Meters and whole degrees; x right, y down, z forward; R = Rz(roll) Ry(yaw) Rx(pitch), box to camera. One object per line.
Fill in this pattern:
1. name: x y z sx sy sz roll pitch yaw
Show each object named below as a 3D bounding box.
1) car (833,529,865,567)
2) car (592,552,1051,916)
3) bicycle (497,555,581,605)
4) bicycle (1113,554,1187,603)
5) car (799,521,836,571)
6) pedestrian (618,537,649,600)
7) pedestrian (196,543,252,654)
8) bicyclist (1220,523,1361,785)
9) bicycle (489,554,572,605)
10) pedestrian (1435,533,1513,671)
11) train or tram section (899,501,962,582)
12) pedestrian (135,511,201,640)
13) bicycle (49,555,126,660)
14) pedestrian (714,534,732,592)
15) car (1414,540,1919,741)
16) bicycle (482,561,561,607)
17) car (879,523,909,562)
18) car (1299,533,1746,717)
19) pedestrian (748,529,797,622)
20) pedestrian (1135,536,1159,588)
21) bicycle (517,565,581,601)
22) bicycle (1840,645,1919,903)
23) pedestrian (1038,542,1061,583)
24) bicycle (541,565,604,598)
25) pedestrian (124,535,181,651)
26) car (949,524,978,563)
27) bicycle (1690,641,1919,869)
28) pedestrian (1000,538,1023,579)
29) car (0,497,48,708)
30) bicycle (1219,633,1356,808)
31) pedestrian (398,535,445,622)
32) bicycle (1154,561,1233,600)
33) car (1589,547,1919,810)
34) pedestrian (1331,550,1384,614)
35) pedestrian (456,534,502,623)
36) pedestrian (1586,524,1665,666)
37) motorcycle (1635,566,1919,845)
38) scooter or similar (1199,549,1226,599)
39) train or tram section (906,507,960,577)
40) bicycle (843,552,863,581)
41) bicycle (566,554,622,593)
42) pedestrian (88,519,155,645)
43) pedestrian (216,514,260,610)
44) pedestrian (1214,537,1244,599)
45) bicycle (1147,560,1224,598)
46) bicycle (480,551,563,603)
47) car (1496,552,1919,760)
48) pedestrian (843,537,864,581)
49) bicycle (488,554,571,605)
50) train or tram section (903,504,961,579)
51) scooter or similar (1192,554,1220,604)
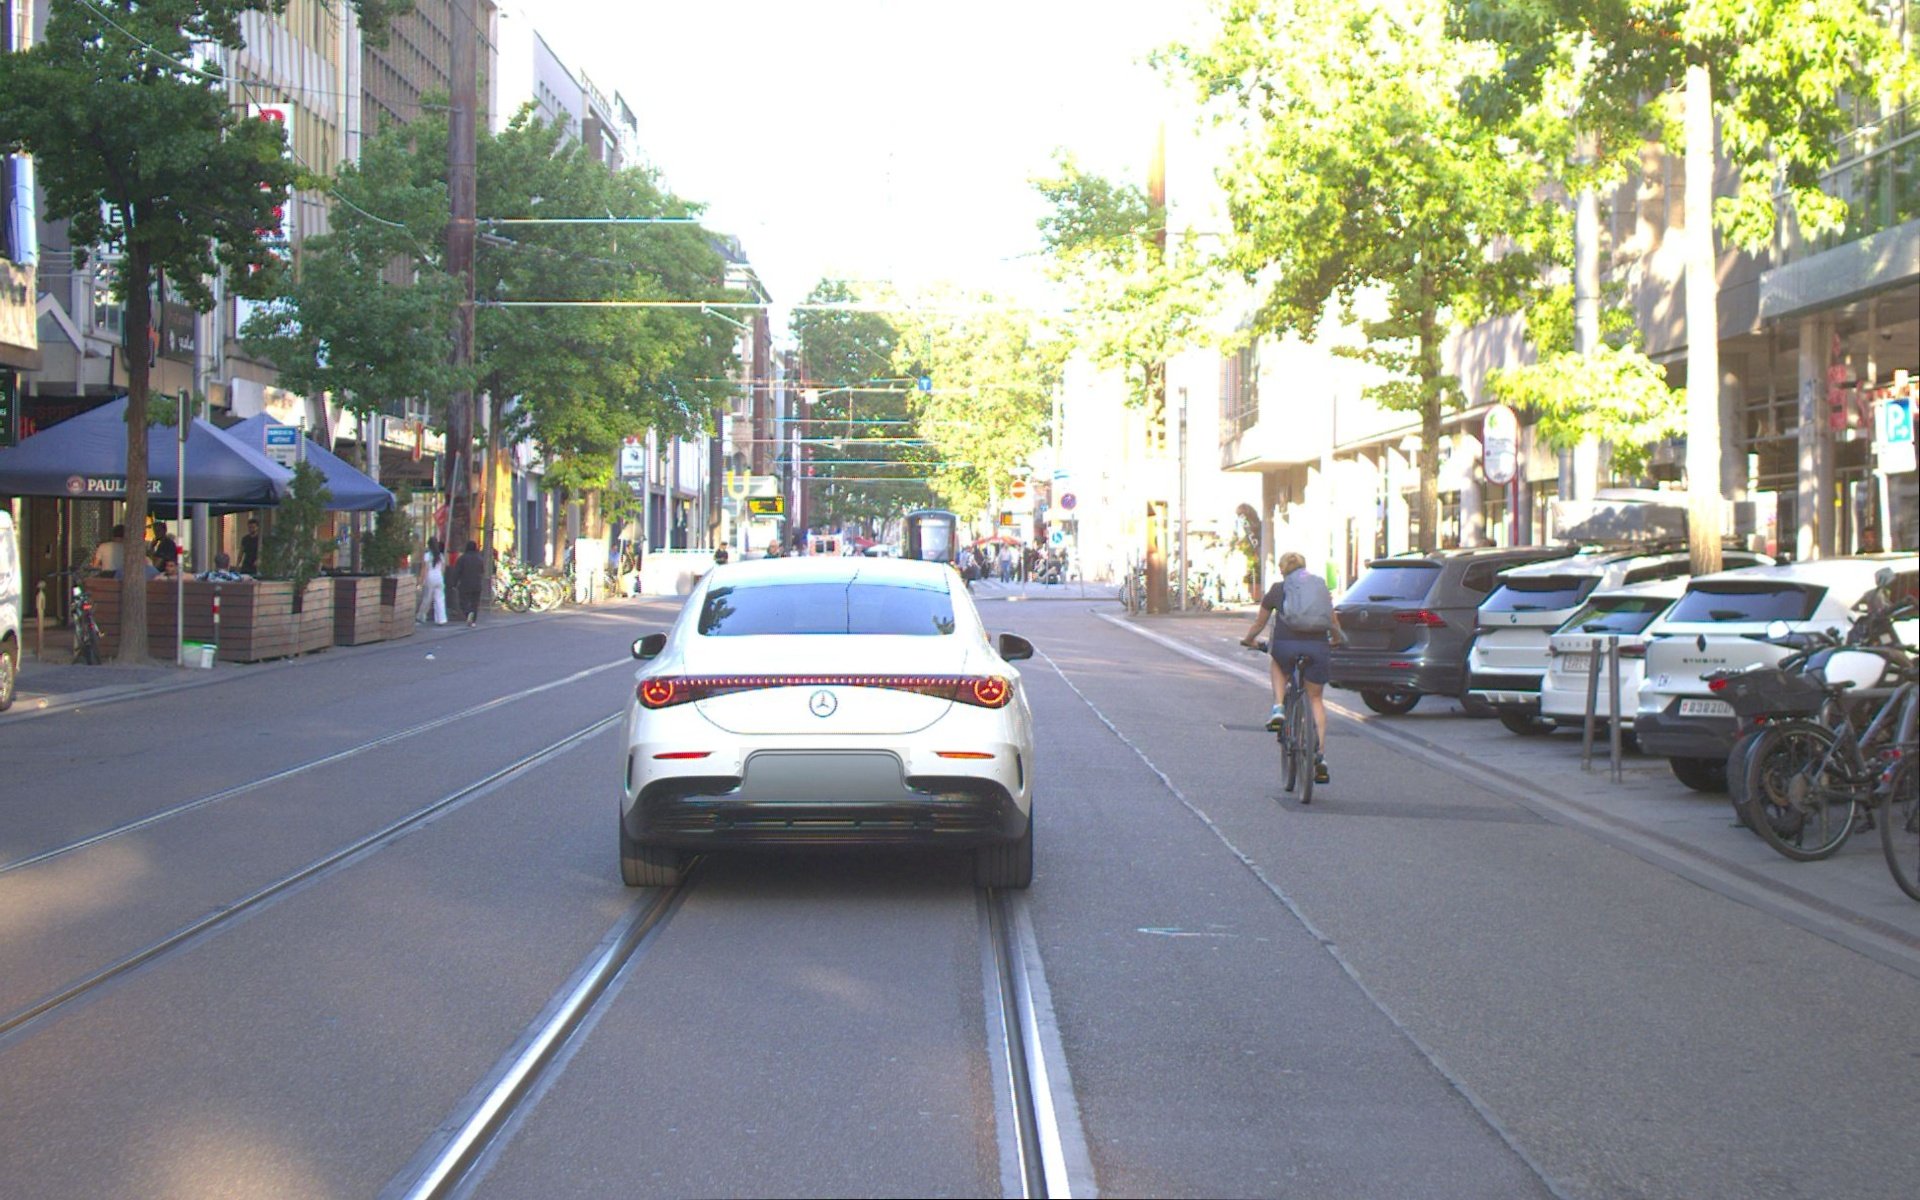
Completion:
1. car: -7.224 -3.394 223.570 1.910 2.452 5.275 0 1 0
2. car: -0.584 0.523 16.255 1.857 1.450 4.175 1 1 0
3. bicycle: -9.533 -0.461 77.869 1.846 1.073 0.377 2 1 -4
4. bicycle: 5.177 -0.585 93.733 1.907 1.277 0.610 -1 1 -11
5. car: -8.487 -3.220 204.841 1.993 2.887 5.275 0 1 0
6. pedestrian: -9.375 -0.919 98.808 0.788 1.795 0.844 1 1 1
7. pedestrian: -9.114 -0.018 42.584 0.549 1.352 0.583 2 1 -1
8. bicyclist: 2.123 0.332 22.008 0.778 1.607 0.912 3 1 9
9. bicycle: -9.572 -0.452 76.635 1.788 1.073 0.377 2 1 -4
10. pedestrian: 6.385 0.024 42.715 0.680 1.679 0.695 -1 1 34
11. train or tram section: -1.300 -2.617 154.297 2.694 3.504 12.546 0 1 0
12. pedestrian: -10.734 -0.333 46.615 0.717 1.719 0.675 2 1 -1
13. bicycle: -10.285 0.073 40.484 0.697 1.117 2.087 3 1 -18
14. pedestrian: -7.908 -1.243 114.797 0.571 1.922 0.541 0 1 -4
15. car: 6.355 0.321 30.807 4.235 1.582 1.884 -2 1 -31
16. bicycle: -9.348 -0.335 73.309 1.596 0.927 0.377 2 1 7
17. car: -4.923 -4.263 255.600 2.099 2.887 5.275 0 1 0
18. car: 5.699 0.219 34.681 4.342 1.646 1.694 -2 1 -31
19. pedestrian: -3.704 -0.491 67.976 0.841 1.795 0.790 2 1 1
20. pedestrian: 6.424 -1.311 117.959 0.748 1.779 0.767 -1 1 0
21. bicycle: -10.053 -0.413 84.114 1.493 0.838 0.344 2 1 1
22. bicycle: 4.884 0.797 16.661 0.481 1.159 1.691 -2 1 40
23. pedestrian: 3.933 -1.671 151.201 0.960 1.779 0.804 -1 1 0
24. bicycle: -9.631 -0.462 85.414 1.493 0.780 0.344 2 1 1
25. pedestrian: -10.010 -0.091 42.637 0.549 1.424 0.583 2 1 -1
26. car: 0.274 -4.193 255.896 2.099 2.887 5.285 0 1 0
27. bicycle: 4.923 0.811 18.606 1.890 1.116 0.667 -2 0 -29
28. pedestrian: 2.234 -1.827 150.149 0.960 1.779 0.804 -1 1 0
29. car: -9.364 -0.006 29.379 1.795 1.858 4.553 3 1 1
30. bicycle: 2.129 0.752 22.168 0.719 0.992 2.058 3 1 9
31. pedestrian: -9.563 -0.393 61.063 0.622 1.504 0.833 3 1 0
32. bicycle: 6.522 -0.552 96.045 2.113 1.092 0.610 0 0 -13
33. car: 6.463 0.446 23.326 4.146 1.566 1.854 -3 1 -33
34. pedestrian: 8.569 -0.391 74.088 0.833 1.372 0.778 1 1 -22
35. pedestrian: -8.559 -0.390 61.219 0.622 1.545 0.852 3 1 0
36. pedestrian: 8.248 -0.063 42.620 0.689 1.725 0.631 -1 1 42
37. motorcycle: 5.023 0.579 20.173 2.313 1.504 0.858 -2 0 -44
38. scooter or similar: 6.479 -0.665 88.245 0.491 1.273 0.660 -2 1 -11
39. train or tram section: -1.371 -2.997 178.690 2.694 3.504 11.143 0 1 0
40. bicycle: -4.446 -1.402 143.075 0.800 1.138 2.257 2 1 -2
41. bicycle: -10.175 -0.741 95.480 1.492 1.025 0.345 2 1 -10
42. pedestrian: -10.919 -0.238 44.801 0.673 1.601 0.720 2 1 -1
43. pedestrian: -13.259 -0.698 63.131 0.597 1.739 0.671 2 1 1
44. pedestrian: 7.960 -0.947 101.744 0.701 1.806 1.033 -3 1 0
45. bicycle: 6.443 -0.609 98.244 2.113 1.092 0.610 0 0 -11
46. bicycle: -10.249 -0.540 80.352 1.846 1.137 0.377 2 1 1
47. car: 6.623 0.409 28.063 4.145 1.494 1.689 -2 1 -24
48. pedestrian: -4.435 -1.712 143.021 0.800 1.776 0.849 2 1 -1
49. bicycle: -9.533 -0.448 76.163 1.788 1.073 0.377 2 1 -4
50. train or tram section: -1.333 -2.815 166.849 2.694 3.504 12.546 0 1 0
51. scooter or similar: 6.359 -0.548 88.975 0.527 1.273 0.660 -2 1 -11
